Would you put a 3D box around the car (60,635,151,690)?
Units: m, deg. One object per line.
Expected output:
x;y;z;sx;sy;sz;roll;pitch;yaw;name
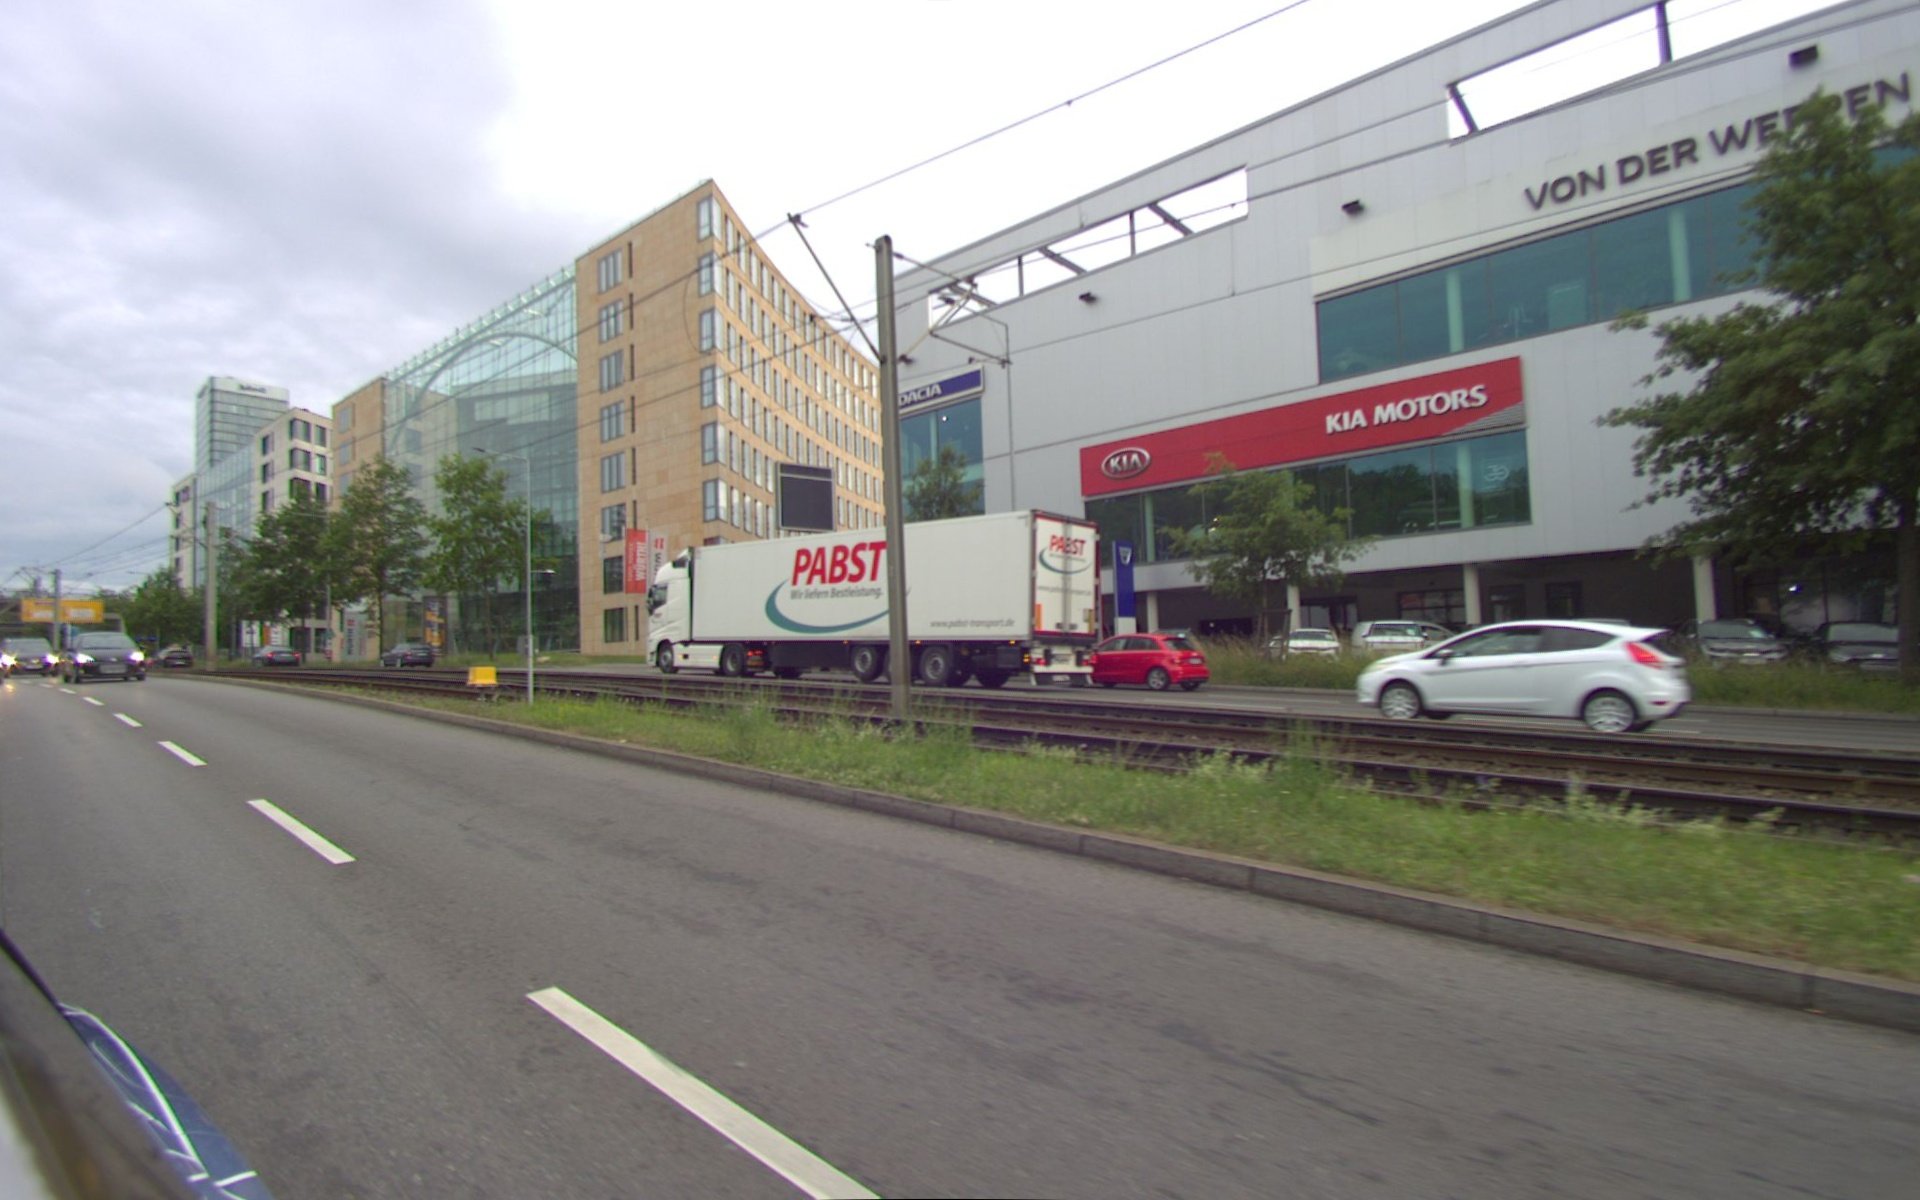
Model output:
-25.979;1.844;30.723;3.827;1.544;1.681;-2;-1;43;car

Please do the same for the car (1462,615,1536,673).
15.135;1.206;28.495;1.691;1.362;3.493;-2;1;28;car

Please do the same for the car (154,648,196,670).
-55.361;4.146;71.327;4.099;1.447;1.666;-2;-1;42;car

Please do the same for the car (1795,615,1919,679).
20.742;1.043;23.272;1.692;1.190;3.492;-2;1;29;car

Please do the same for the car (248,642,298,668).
-41.885;3.308;61.626;4.099;1.447;1.665;-2;-1;43;car

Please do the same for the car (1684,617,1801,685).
19.127;1.205;24.881;1.692;1.362;3.492;-2;1;29;car

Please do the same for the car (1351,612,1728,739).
7.621;0.949;13.586;4.101;1.447;1.665;-2;-4;45;car

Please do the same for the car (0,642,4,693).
-31.279;2.096;31.680;4.370;1.544;1.681;-2;-1;42;car

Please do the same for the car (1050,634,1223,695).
4.393;1.574;25.570;4.025;1.380;1.665;-2;-1;43;car

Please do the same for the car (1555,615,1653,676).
17.106;1.174;27.031;1.689;1.362;3.497;-2;1;25;car

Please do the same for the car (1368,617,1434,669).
13.301;1.272;30.596;1.688;1.304;3.636;-2;1;23;car

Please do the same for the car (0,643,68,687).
-38.583;2.658;42.107;4.317;1.619;1.763;-2;0;43;car

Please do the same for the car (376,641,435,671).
-31.734;3.184;57.906;3.997;1.630;1.609;-2;-1;40;car

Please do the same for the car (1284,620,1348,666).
11.462;1.354;32.442;1.688;1.196;3.636;-2;1;23;car

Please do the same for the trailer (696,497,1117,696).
-2.137;0.162;27.736;13.279;4.363;3.100;-2;-4;43;trailer

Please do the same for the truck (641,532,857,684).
-6.766;0.389;31.915;7.027;4.276;3.101;-2;-4;43;truck
